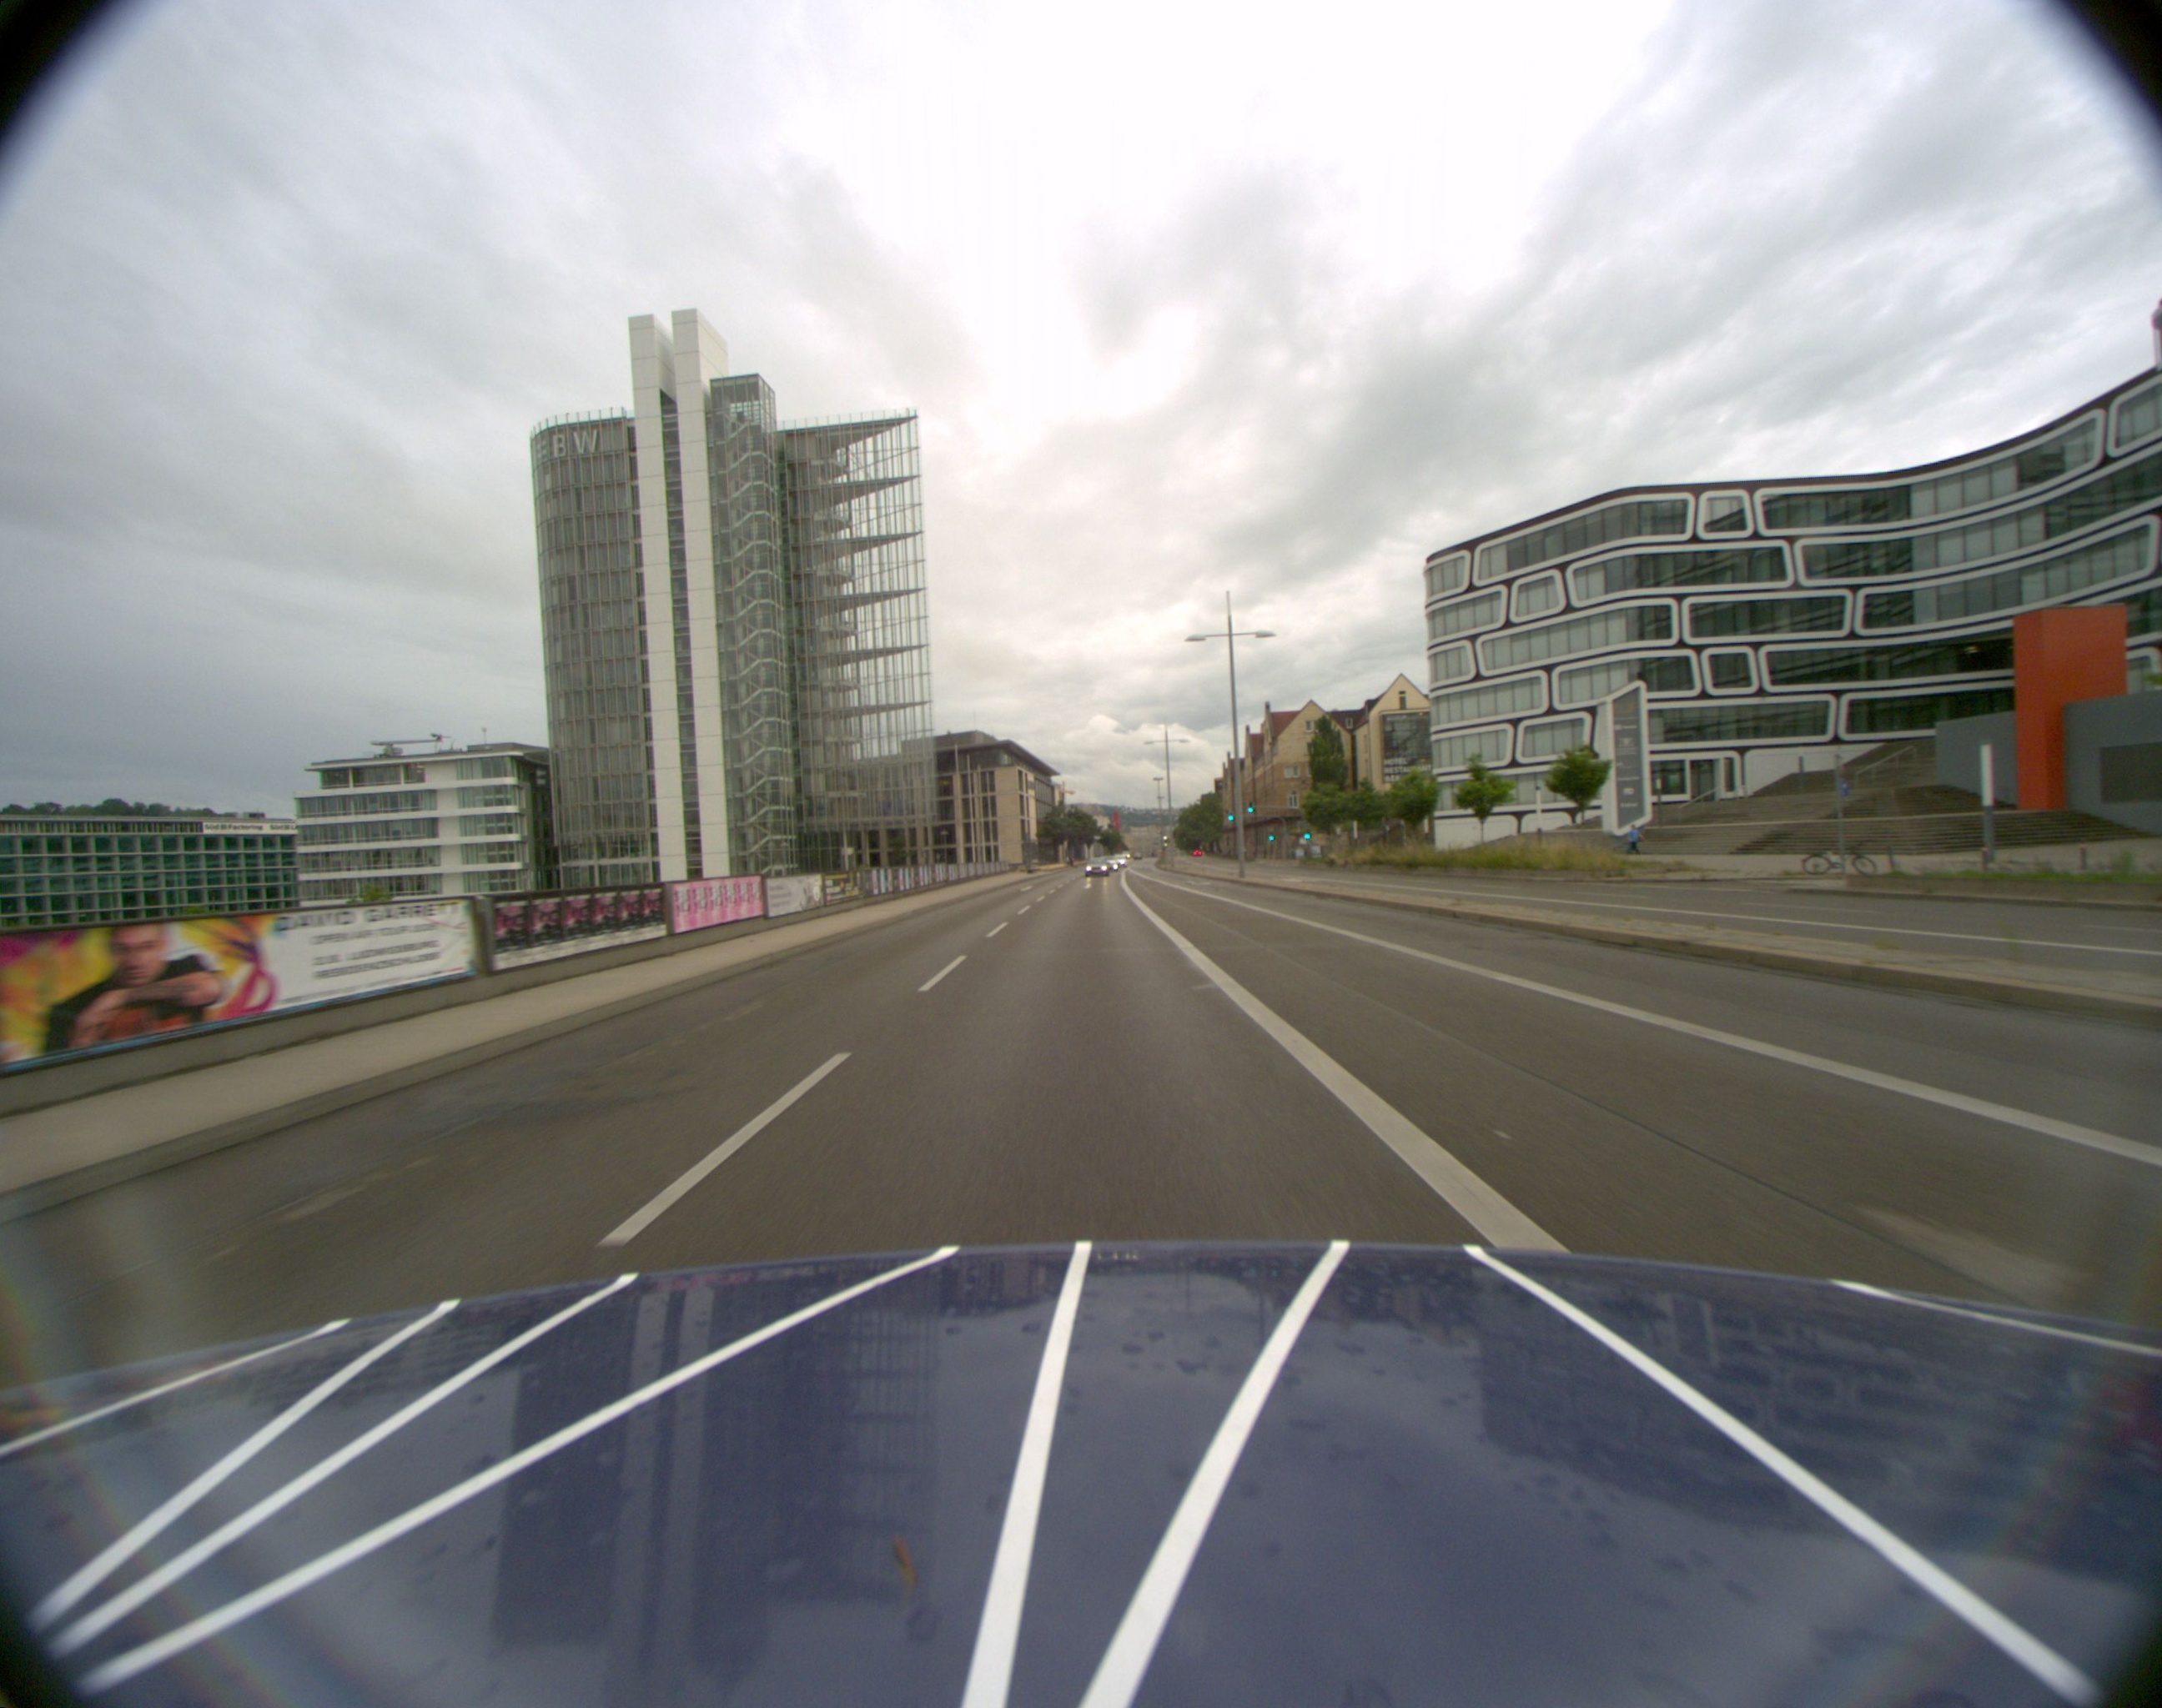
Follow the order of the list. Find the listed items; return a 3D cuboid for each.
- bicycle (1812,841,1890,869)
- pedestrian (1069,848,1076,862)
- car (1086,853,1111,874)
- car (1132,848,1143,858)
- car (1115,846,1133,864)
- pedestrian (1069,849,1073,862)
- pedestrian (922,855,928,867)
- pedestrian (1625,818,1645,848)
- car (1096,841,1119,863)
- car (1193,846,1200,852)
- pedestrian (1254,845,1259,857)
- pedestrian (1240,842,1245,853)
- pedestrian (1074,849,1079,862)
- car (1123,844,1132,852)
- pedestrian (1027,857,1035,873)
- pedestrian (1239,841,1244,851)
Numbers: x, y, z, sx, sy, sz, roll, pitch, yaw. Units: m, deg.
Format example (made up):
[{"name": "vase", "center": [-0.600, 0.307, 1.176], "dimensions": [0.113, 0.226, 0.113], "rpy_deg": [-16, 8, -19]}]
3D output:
[{"name": "bicycle", "center": [24.348, 0.027, 24.062], "dimensions": [0.610, 0.852, 1.653], "rpy_deg": [-3, 2, -33]}, {"name": "pedestrian", "center": [-1.086, 0.110, 95.944], "dimensions": [0.728, 1.761, 0.783], "rpy_deg": [-2, 2, -4]}, {"name": "car", "center": [1.226, 0.679, 55.787], "dimensions": [1.684, 1.379, 3.475], "rpy_deg": [-2, 1, 0]}, {"name": "car", "center": [12.606, -0.213, 168.713], "dimensions": [1.999, 2.002, 3.998], "rpy_deg": [-2, 1, -1]}, {"name": "car", "center": [5.224, 0.064, 91.916], "dimensions": [1.970, 1.816, 3.927], "rpy_deg": [-3, 3, 6]}, {"name": "pedestrian", "center": [-1.246, 0.204, 94.473], "dimensions": [0.461, 1.590, 0.656], "rpy_deg": [-2, 2, 5]}, {"name": "pedestrian", "center": [-23.340, 1.078, 113.590], "dimensions": [0.634, 1.735, 0.635], "rpy_deg": [-1, 2, 26]}, {"name": "pedestrian", "center": [30.046, -1.156, 41.198], "dimensions": [0.612, 1.602, 0.639], "rpy_deg": [-2, 2, 3]}, {"name": "car", "center": [2.500, -0.218, 72.688], "dimensions": [1.999, 2.002, 3.998], "rpy_deg": [-2, 1, -1]}, {"name": "car", "center": [30.042, -1.255, 197.397], "dimensions": [1.714, 1.455, 4.002], "rpy_deg": [-3, 0, 6]}, {"name": "pedestrian", "center": [26.565, -0.518, 114.979], "dimensions": [0.677, 1.769, 0.684], "rpy_deg": [-2, 2, 6]}, {"name": "pedestrian", "center": [26.422, -1.025, 124.454], "dimensions": [0.677, 1.769, 0.684], "rpy_deg": [-2, 2, 6]}, {"name": "pedestrian", "center": [-0.620, 0.209, 94.997], "dimensions": [0.542, 1.519, 0.600], "rpy_deg": [-2, 2, 3]}, {"name": "car", "center": [11.533, -1.468, 188.381], "dimensions": [1.999, 2.002, 3.998], "rpy_deg": [-2, 1, -1]}, {"name": "pedestrian", "center": [-5.234, 1.148, 79.557], "dimensions": [0.660, 1.601, 0.547], "rpy_deg": [-3, 1, 6]}, {"name": "pedestrian", "center": [28.901, -1.414, 136.706], "dimensions": [0.677, 1.769, 0.684], "rpy_deg": [-2, 2, 6]}]
